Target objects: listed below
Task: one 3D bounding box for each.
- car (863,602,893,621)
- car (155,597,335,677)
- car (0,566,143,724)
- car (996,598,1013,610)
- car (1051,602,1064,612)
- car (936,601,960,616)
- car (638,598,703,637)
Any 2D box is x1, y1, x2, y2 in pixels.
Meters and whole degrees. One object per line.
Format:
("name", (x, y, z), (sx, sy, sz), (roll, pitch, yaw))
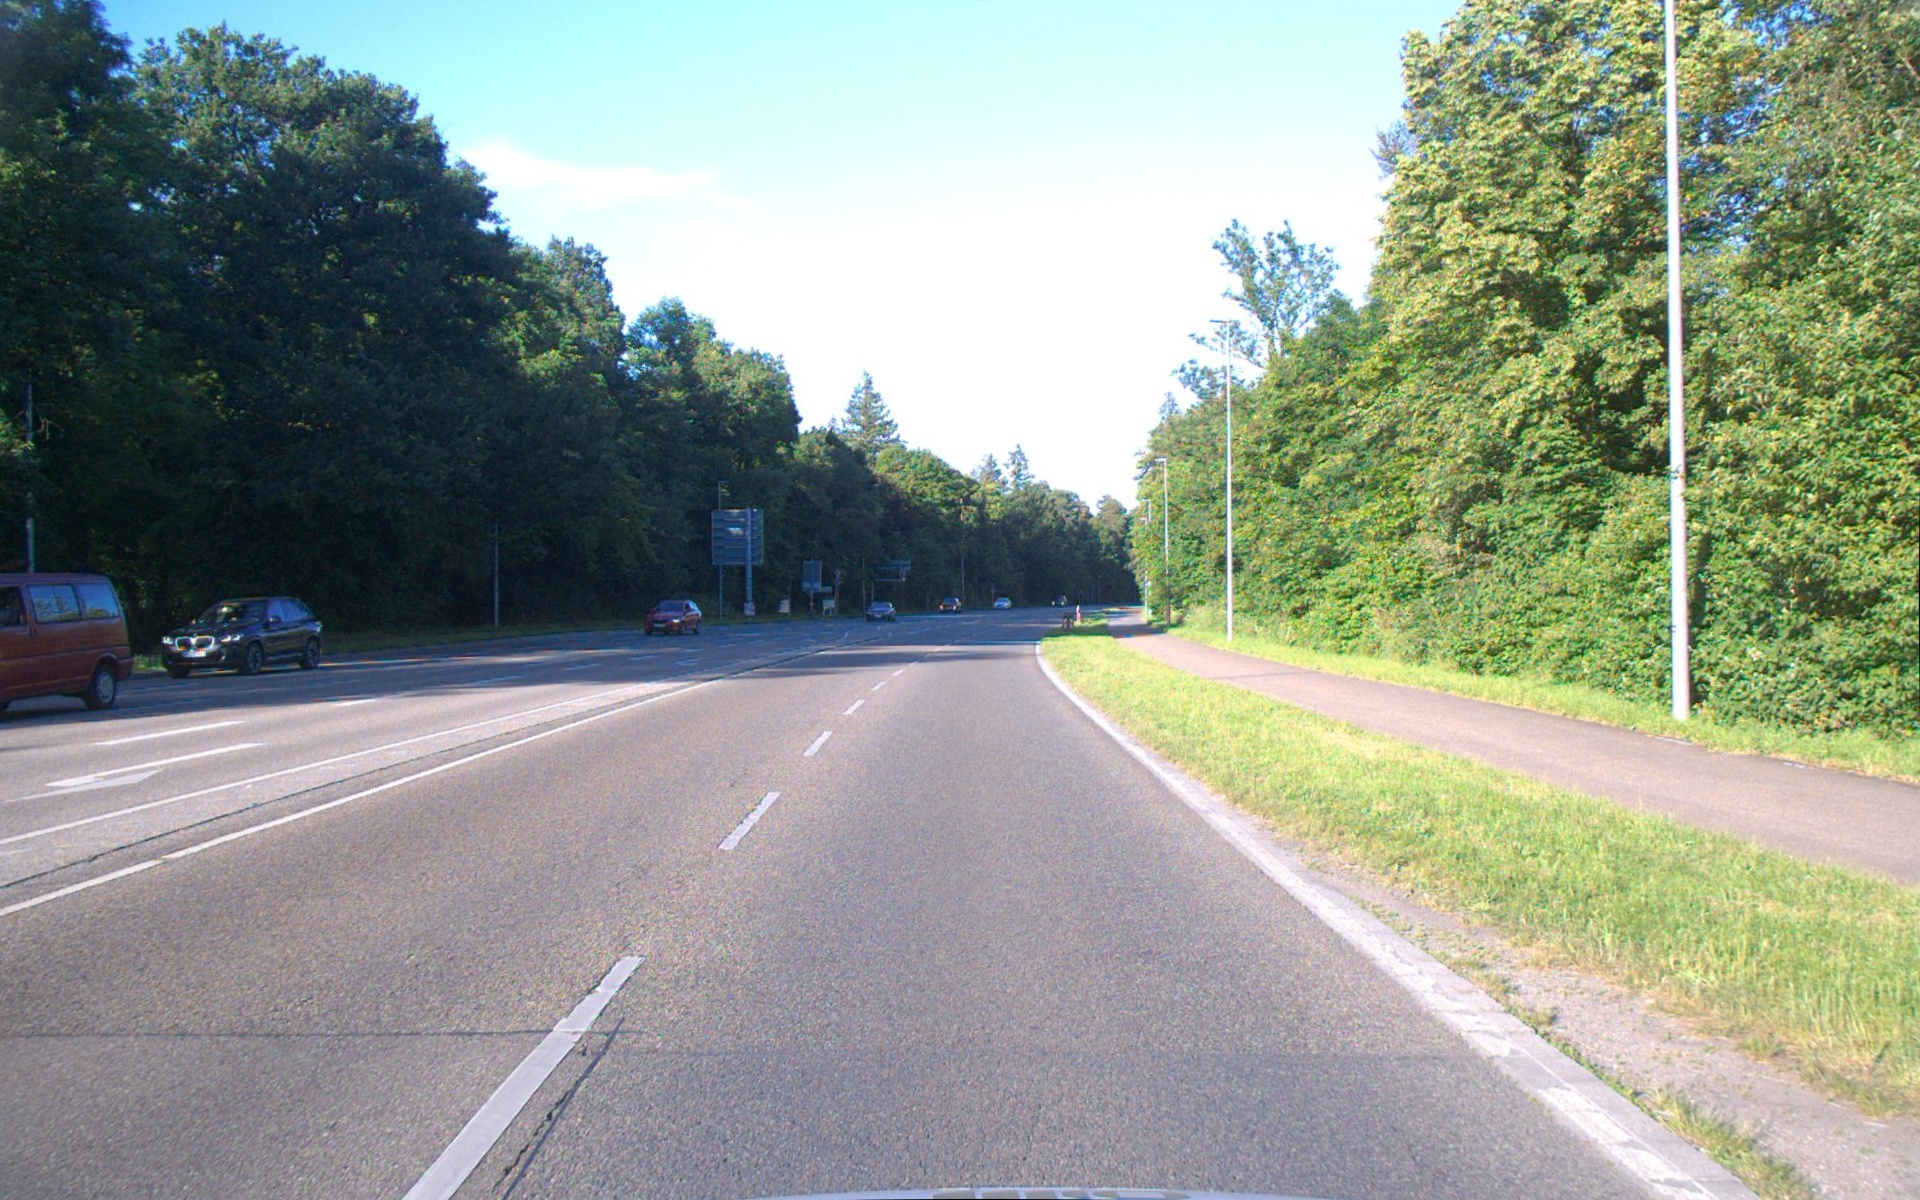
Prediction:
("car", (-5.632, 0.775, 113.720), (1.708, 1.256, 4.674), (-1, 0, 1))
("car", (-15.932, 0.773, 37.141), (1.953, 1.665, 4.843), (-1, 0, -1))
("car", (-13.120, 0.605, 22.230), (1.953, 1.996, 4.647), (-2, 0, -1))
("car", (5.548, 0.463, 206.696), (1.786, 1.530, 4.309), (0, 0, 6))
("car", (15.231, 1.073, 259.354), (1.786, 1.617, 4.354), (0, 0, 6))
("car", (-1.233, 0.846, 166.583), (1.786, 1.572, 4.260), (0, 0, 8))
("car", (-12.529, 0.739, 71.930), (1.952, 1.591, 4.339), (-1, 0, 1))
